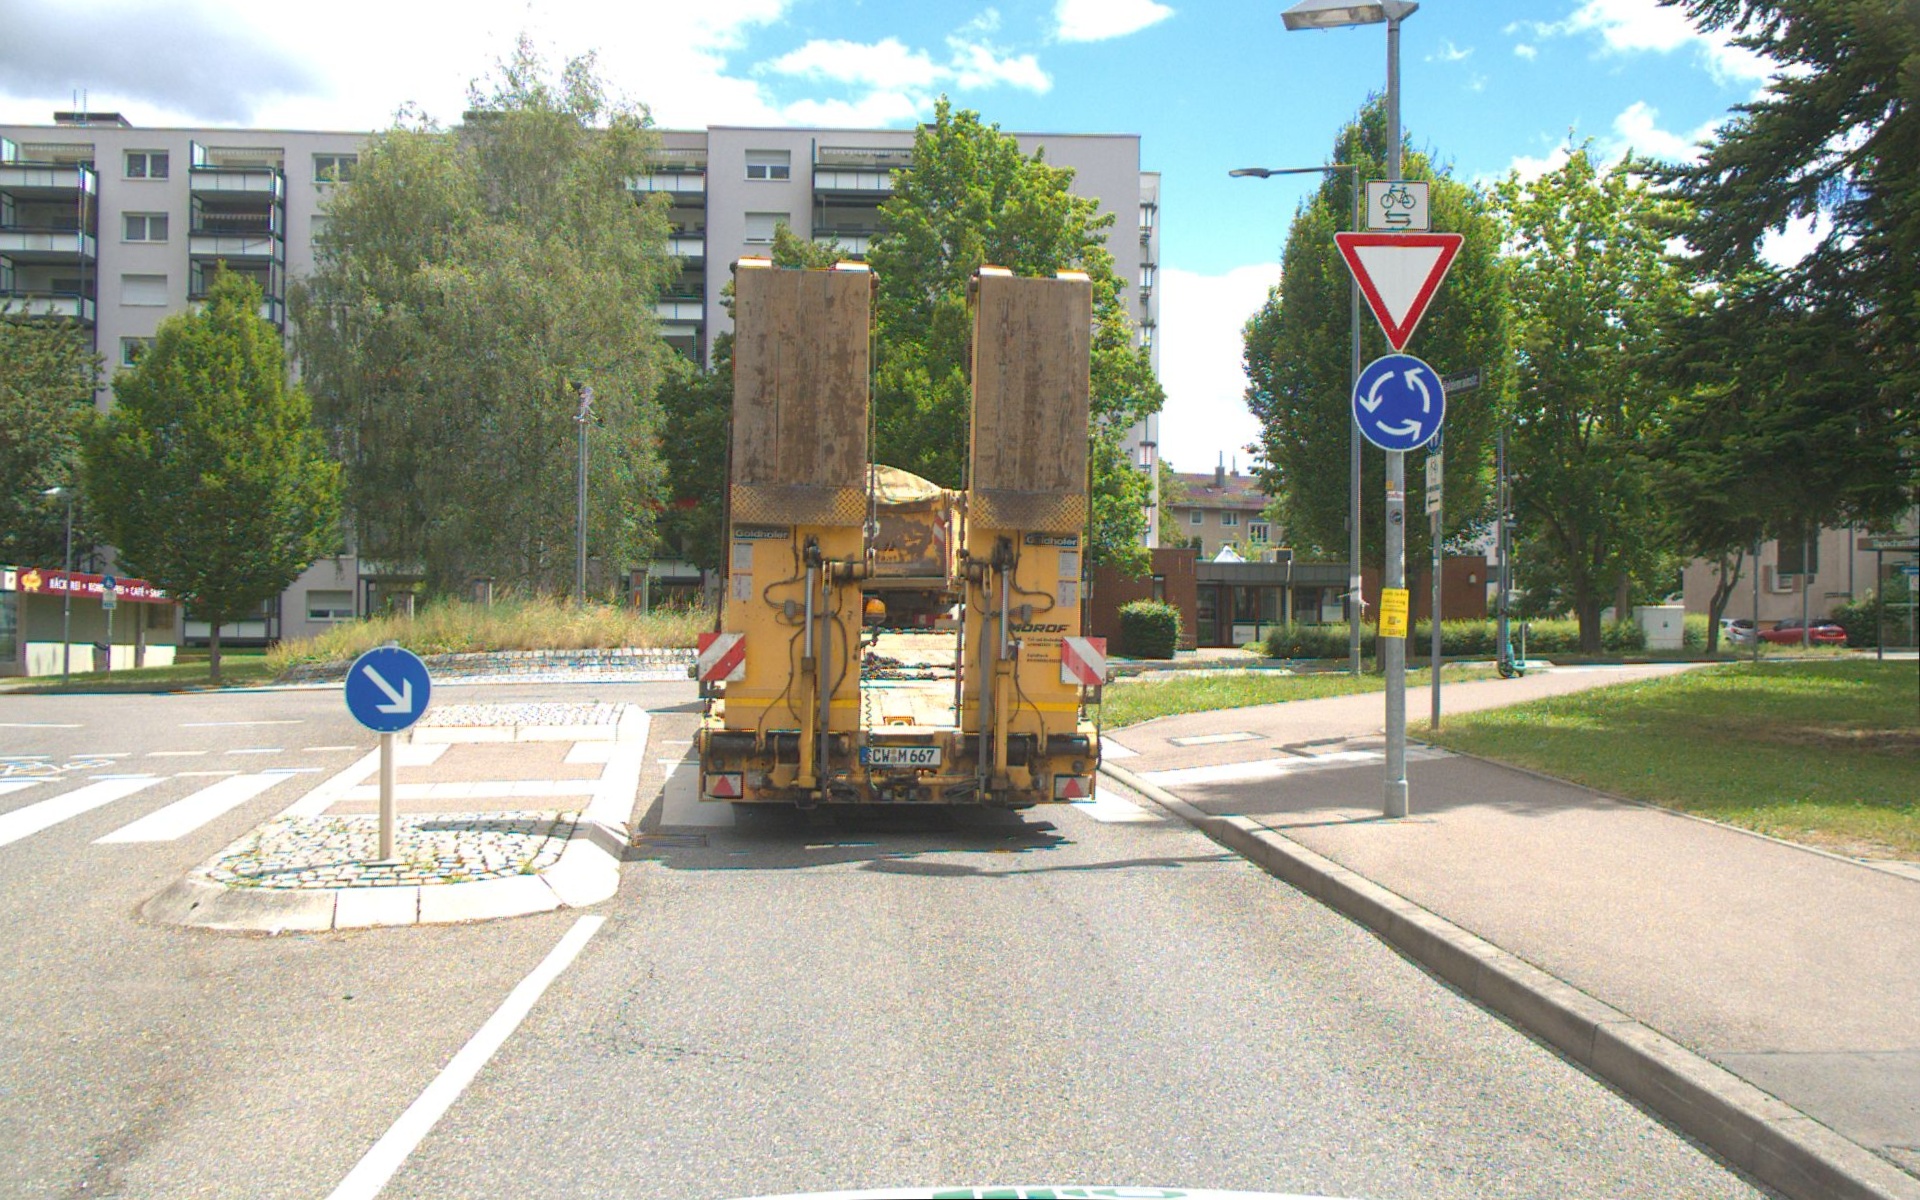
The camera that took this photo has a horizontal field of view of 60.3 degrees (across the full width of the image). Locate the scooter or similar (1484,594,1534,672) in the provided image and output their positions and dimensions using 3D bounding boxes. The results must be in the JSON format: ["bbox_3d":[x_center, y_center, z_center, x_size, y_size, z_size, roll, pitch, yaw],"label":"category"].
[{"bbox_3d":[9.984,0.587,30.060,0.476,1.366,1.384,-2,0,35],"label":"scooter or similar"}]

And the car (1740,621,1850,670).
[{"bbox_3d":[35.412,1.904,70.266,1.980,1.975,3.980,2,-1,-17],"label":"car"}]

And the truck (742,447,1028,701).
[{"bbox_3d":[-0.777,-0.390,24.865,2.924,3.087,8.492,2,1,6],"label":"truck"}]

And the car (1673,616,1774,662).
[{"bbox_3d":[34.321,1.728,74.428,1.962,1.975,3.980,2,-1,-17],"label":"car"}]

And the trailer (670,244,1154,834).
[{"bbox_3d":[-0.676,-0.375,15.249,2.807,3.431,10.831,1,0,-4],"label":"trailer"}]
